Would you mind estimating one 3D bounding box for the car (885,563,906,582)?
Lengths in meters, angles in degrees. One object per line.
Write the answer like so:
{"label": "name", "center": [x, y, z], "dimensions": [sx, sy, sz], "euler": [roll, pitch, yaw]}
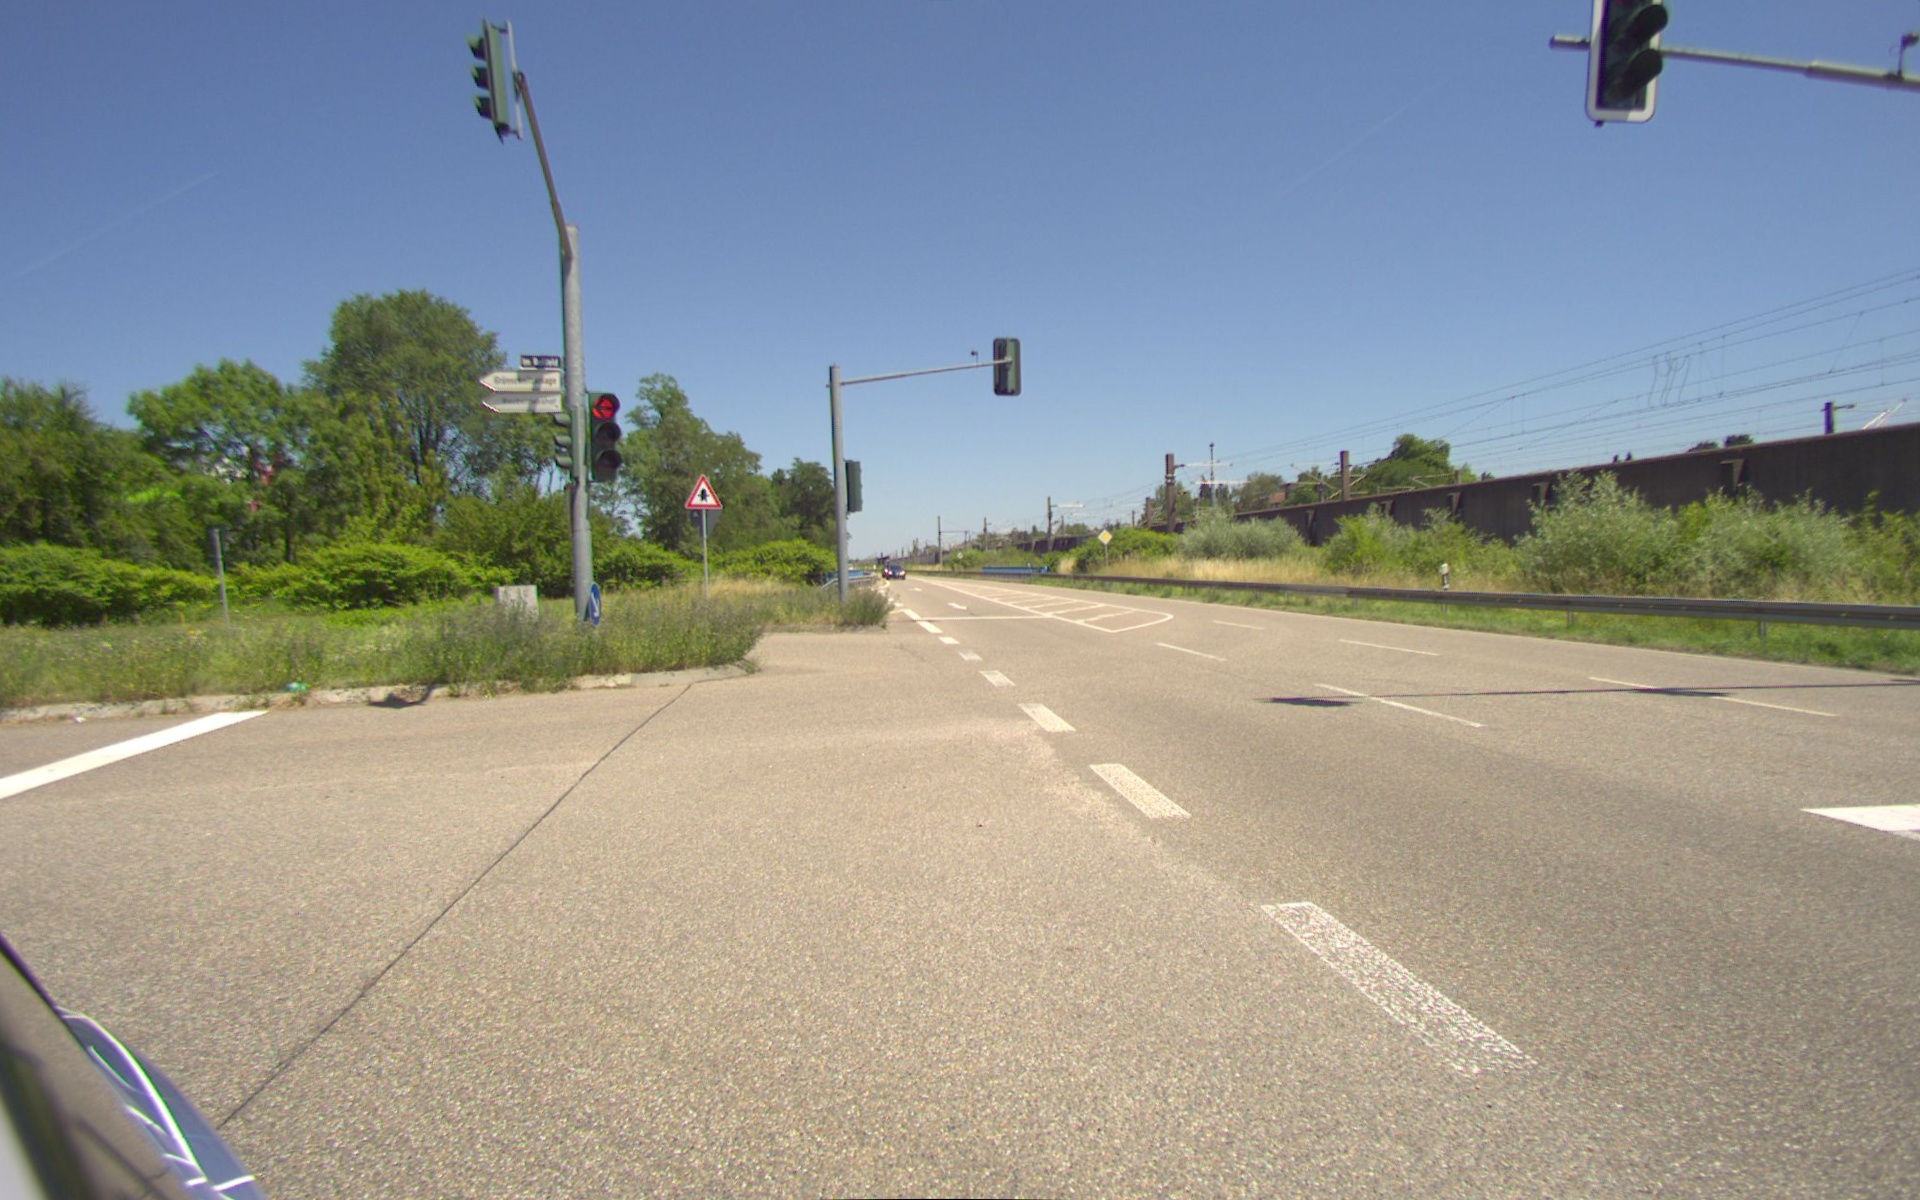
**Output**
{"label": "car", "center": [-6.376, -2.730, 99.191], "dimensions": [1.970, 1.740, 4.004], "euler": [-2, 2, -4]}
